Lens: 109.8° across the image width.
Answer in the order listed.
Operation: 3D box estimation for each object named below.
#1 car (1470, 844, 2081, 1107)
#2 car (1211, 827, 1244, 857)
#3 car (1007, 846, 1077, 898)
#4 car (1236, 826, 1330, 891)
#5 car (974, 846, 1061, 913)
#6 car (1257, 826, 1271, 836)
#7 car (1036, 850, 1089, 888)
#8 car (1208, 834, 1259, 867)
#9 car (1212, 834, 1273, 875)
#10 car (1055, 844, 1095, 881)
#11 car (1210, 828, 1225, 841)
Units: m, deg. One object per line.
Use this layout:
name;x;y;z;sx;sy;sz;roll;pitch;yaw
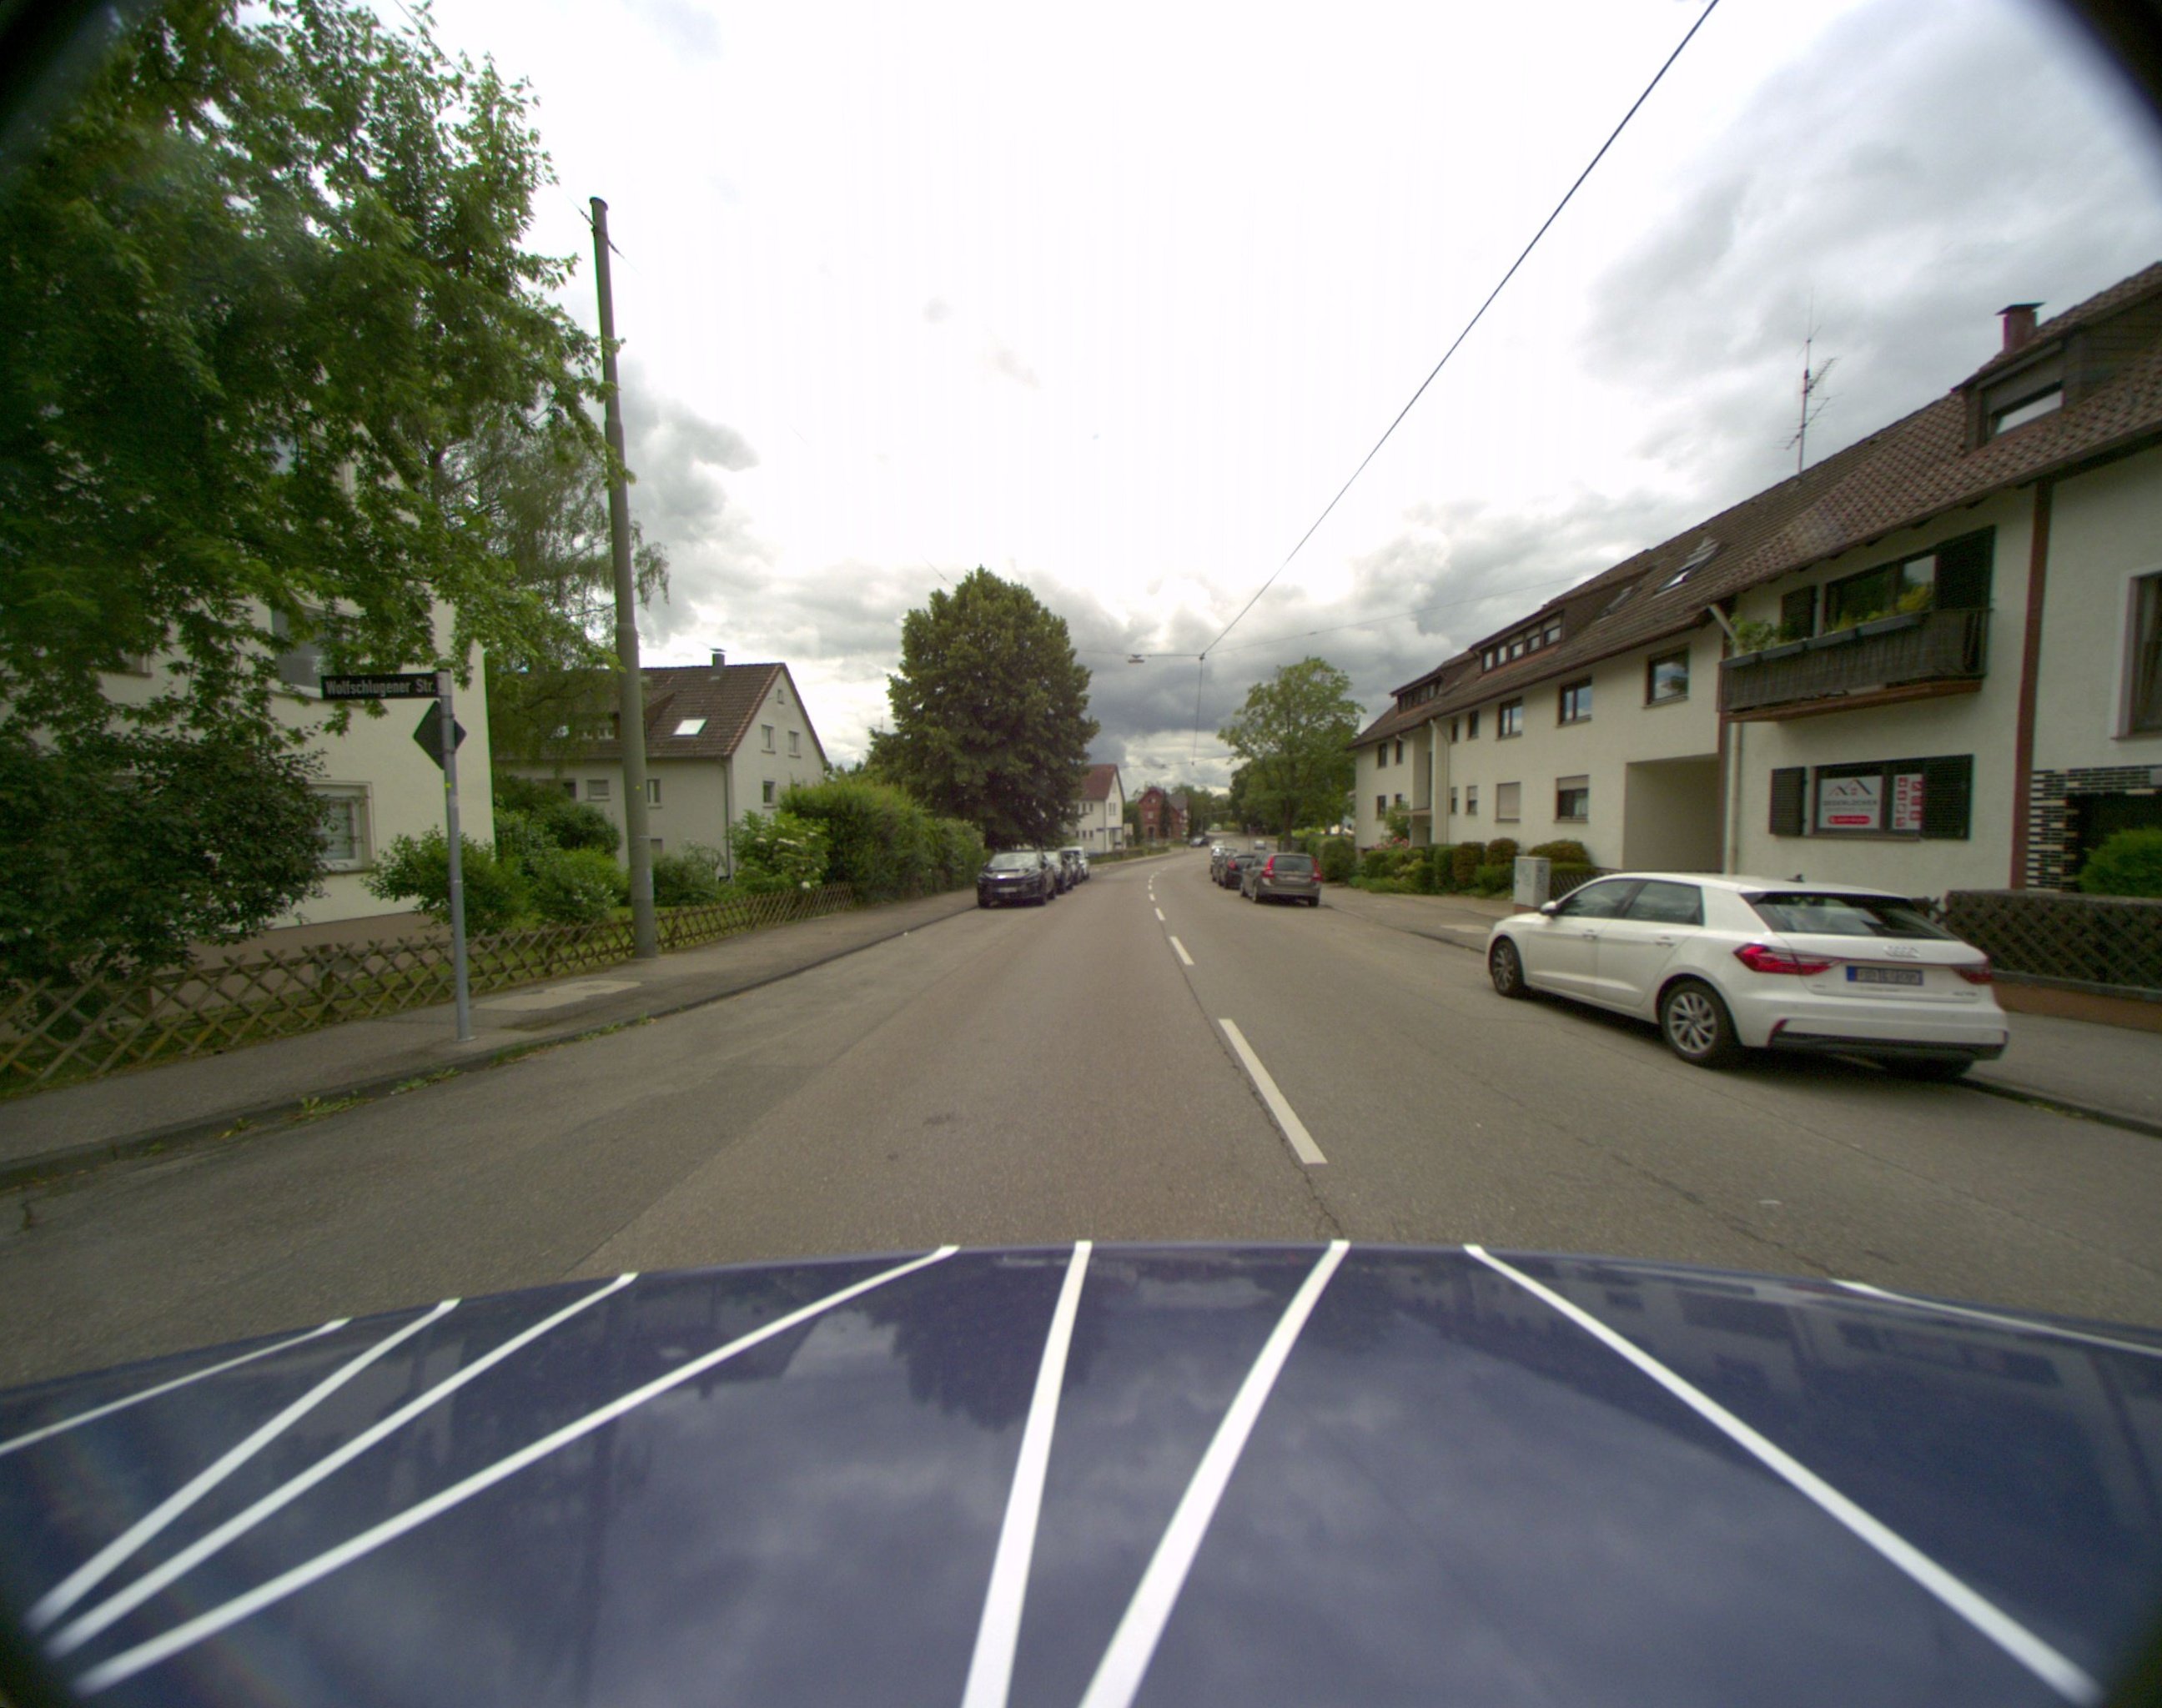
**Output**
car;5.253;0.726;6.625;1.730;1.450;3.898;3;2;2
car;9.081;-0.777;47.334;1.853;1.705;4.577;2;2;10
car;-1.346;0.584;28.316;1.998;1.606;4.539;-2;2;4
car;6.015;0.035;23.206;1.851;1.671;4.786;3;2;4
car;-1.740;0.646;22.334;1.815;1.606;4.539;-2;2;4
car;27.367;-3.409;113.567;1.714;1.347;4.087;3;4;19
car;-0.779;0.642;34.951;1.998;1.470;4.620;0;2;4
car;7.095;-0.216;35.615;1.766;1.430;4.078;1;2;4
car;6.389;-0.041;30.401;1.766;1.430;4.078;4;2;4
car;-0.263;0.389;40.126;1.842;1.764;4.317;-3;1;3
car;17.717;-2.519;98.609;1.779;1.510;3.557;-2;4;8
